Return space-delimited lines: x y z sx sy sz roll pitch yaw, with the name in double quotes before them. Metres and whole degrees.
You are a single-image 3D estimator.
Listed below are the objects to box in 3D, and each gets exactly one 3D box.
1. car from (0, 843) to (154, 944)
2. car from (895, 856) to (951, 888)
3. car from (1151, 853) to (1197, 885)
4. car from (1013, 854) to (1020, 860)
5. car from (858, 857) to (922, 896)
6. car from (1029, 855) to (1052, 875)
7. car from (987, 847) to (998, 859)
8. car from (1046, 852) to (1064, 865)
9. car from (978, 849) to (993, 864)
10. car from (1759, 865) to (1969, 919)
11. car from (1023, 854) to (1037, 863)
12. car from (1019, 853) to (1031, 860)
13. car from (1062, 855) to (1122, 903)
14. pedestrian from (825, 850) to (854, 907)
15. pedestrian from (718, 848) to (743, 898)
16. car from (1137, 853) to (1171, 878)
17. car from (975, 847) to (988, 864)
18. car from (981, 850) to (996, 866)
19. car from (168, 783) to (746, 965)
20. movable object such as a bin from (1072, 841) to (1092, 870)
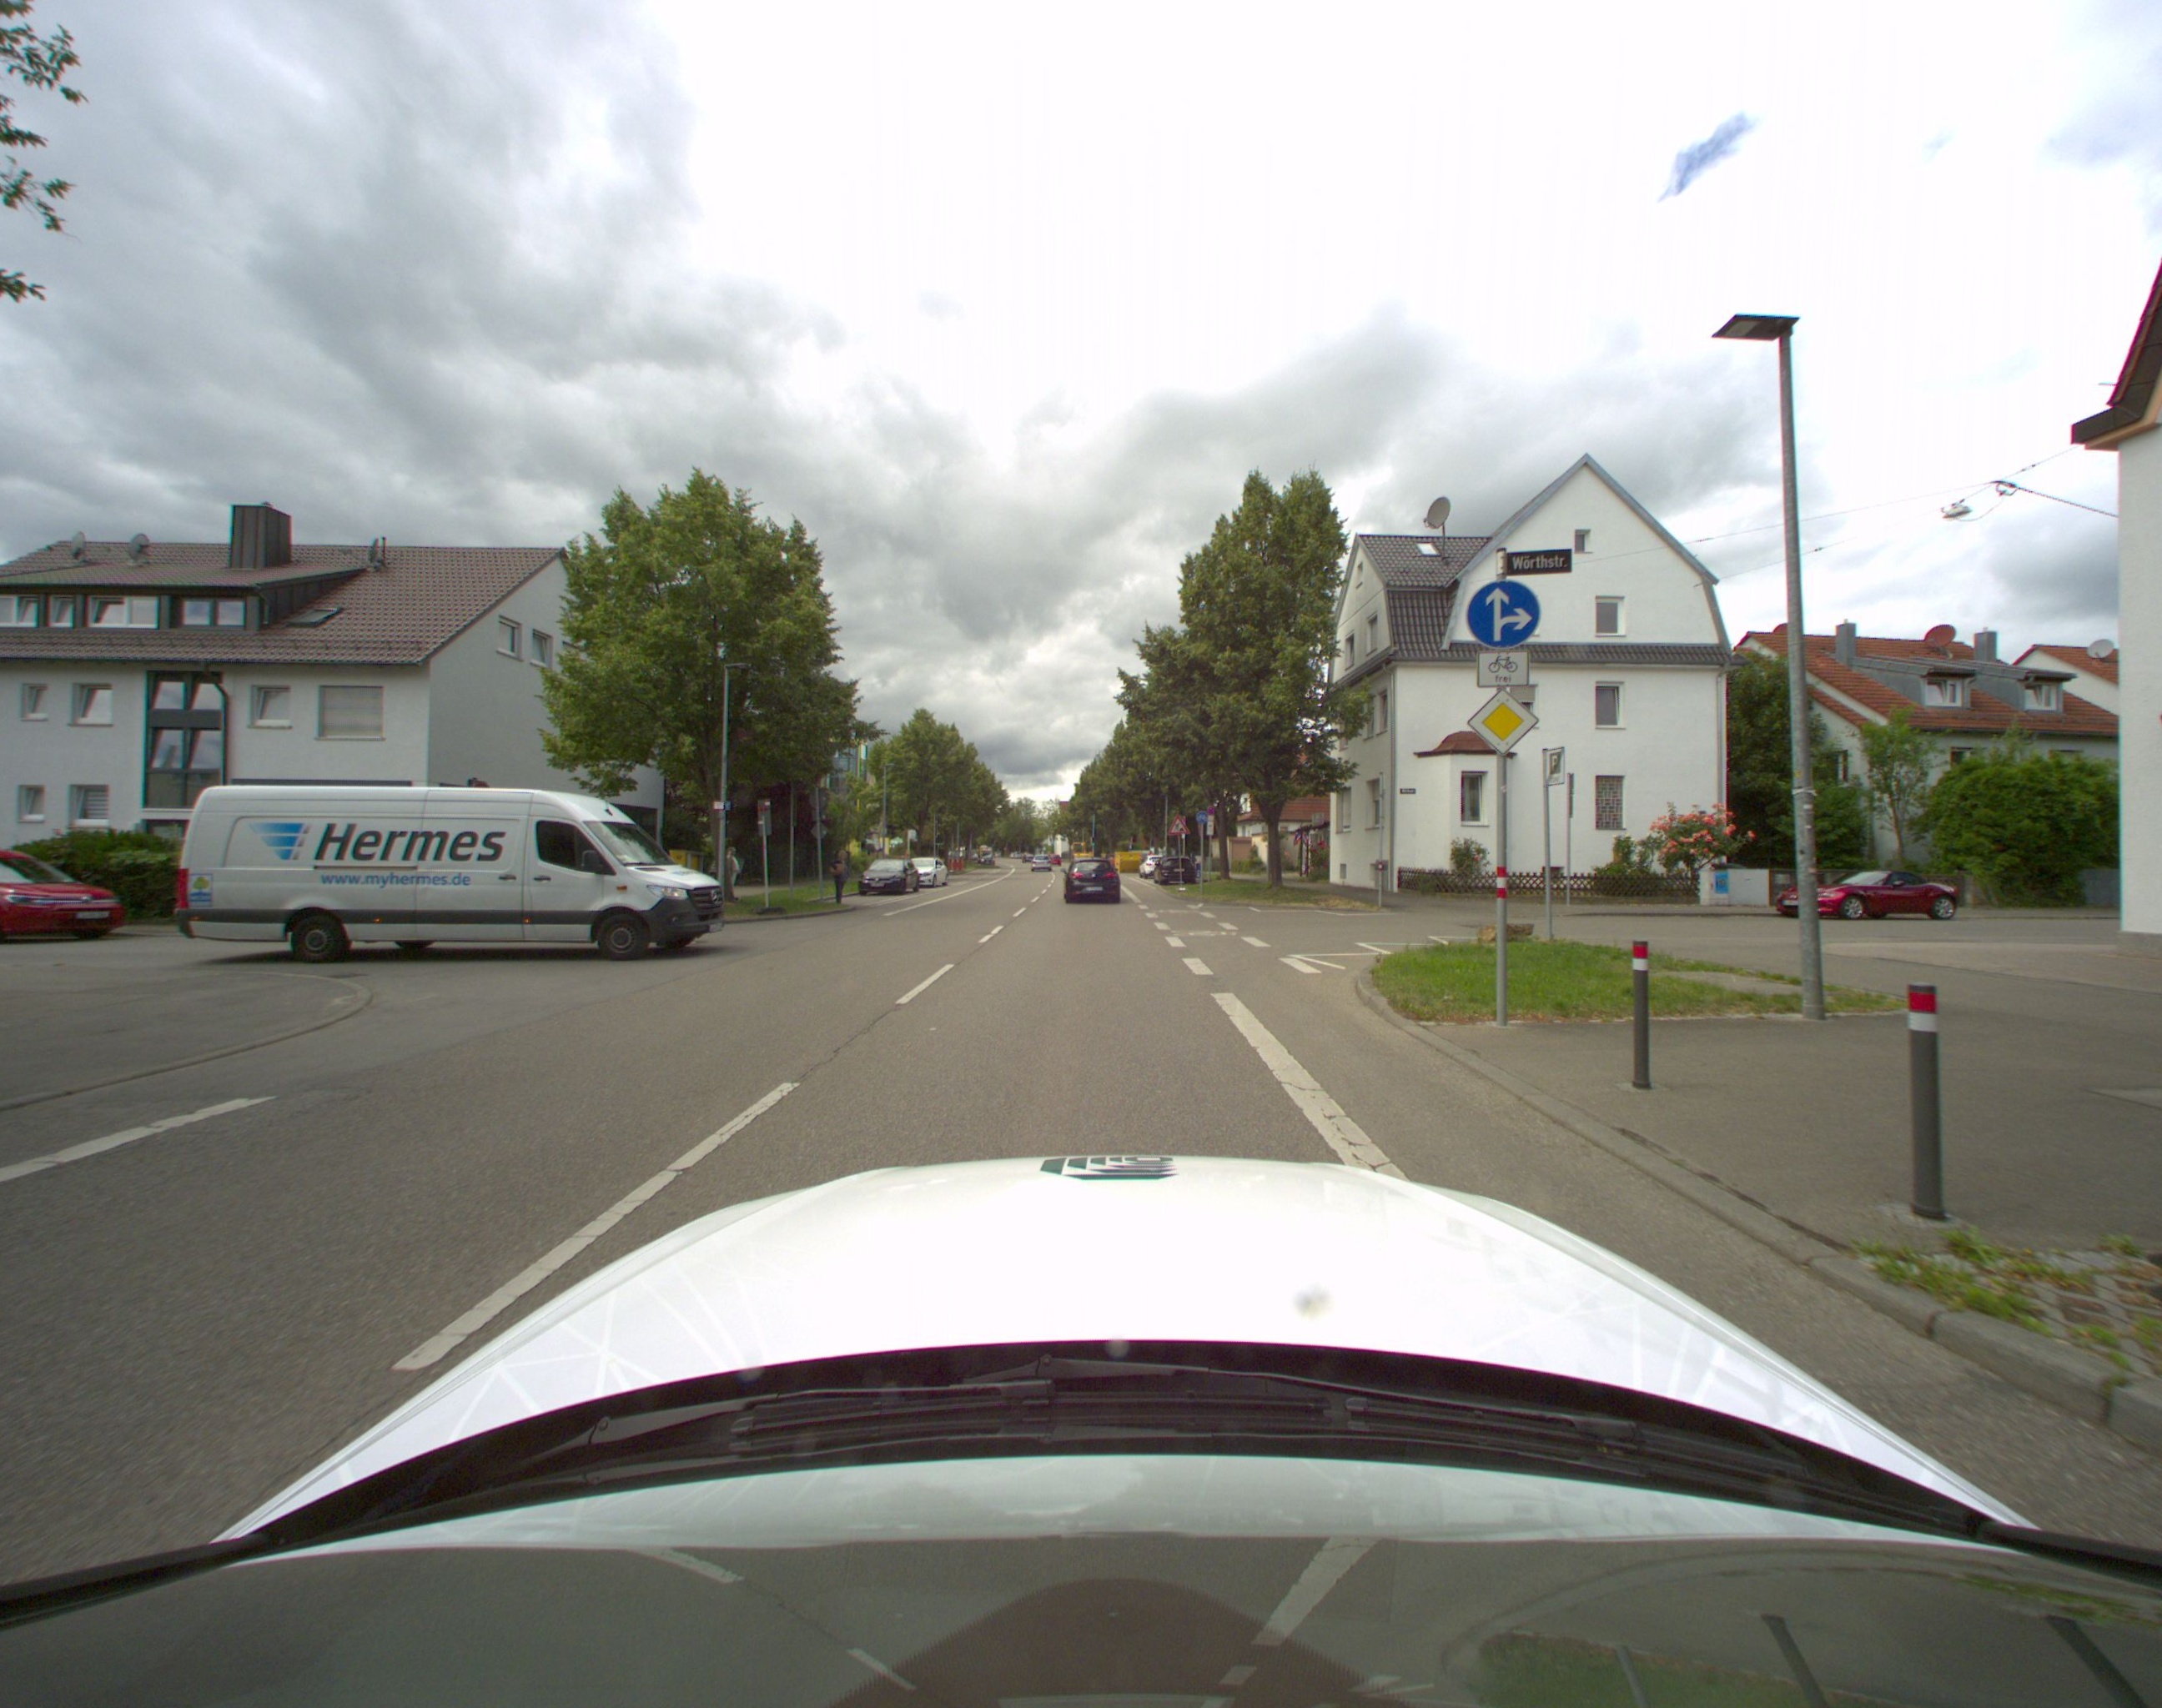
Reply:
"car" -20.724 0.747 15.247 4.337 1.778 1.870 -1 -2 -3
"car" -7.575 0.831 39.443 1.707 1.406 4.303 0 0 2
"car" 4.570 0.702 40.568 1.700 1.454 4.615 -1 0 0
"car" -15.441 0.752 195.274 1.807 1.415 3.687 0 0 -5
"car" -7.608 0.852 32.799 1.638 1.420 4.019 -1 0 0
"car" -3.635 0.926 72.405 1.902 1.685 3.734 -1 0 -4
"car" -20.022 -0.249 184.456 2.285 2.792 7.126 -1 0 -7
"car" -3.250 0.548 101.578 1.790 1.623 3.729 -1 0 -8
"car" -14.251 0.324 121.487 2.091 2.175 5.032 0 0 -7
"car" 19.554 0.921 20.441 3.687 1.230 1.745 1 0 -2
"car" -8.225 0.740 131.260 1.810 1.375 3.680 0 0 -10
"car" -10.657 0.471 153.939 1.810 1.415 3.679 0 0 -11
"car" 0.297 0.768 26.680 1.814 1.437 3.738 -1 0 -1
"pedestrian" -7.332 0.734 24.760 0.539 1.681 0.752 1 1 9
"pedestrian" -11.137 0.598 25.892 0.428 1.552 0.806 0 0 1
"car" 4.479 0.673 50.579 1.668 1.462 3.997 0 0 -2
"car" -16.152 0.189 131.735 2.091 2.626 5.032 0 0 -7
"car" -11.299 0.474 99.569 1.665 1.772 4.457 -1 0 -7
"car" -9.451 0.275 12.952 7.272 2.594 2.218 0 0 -3
"movable object such as a bin" 0.068 0.112 72.602 1.763 2.574 3.738 0 0 -1
